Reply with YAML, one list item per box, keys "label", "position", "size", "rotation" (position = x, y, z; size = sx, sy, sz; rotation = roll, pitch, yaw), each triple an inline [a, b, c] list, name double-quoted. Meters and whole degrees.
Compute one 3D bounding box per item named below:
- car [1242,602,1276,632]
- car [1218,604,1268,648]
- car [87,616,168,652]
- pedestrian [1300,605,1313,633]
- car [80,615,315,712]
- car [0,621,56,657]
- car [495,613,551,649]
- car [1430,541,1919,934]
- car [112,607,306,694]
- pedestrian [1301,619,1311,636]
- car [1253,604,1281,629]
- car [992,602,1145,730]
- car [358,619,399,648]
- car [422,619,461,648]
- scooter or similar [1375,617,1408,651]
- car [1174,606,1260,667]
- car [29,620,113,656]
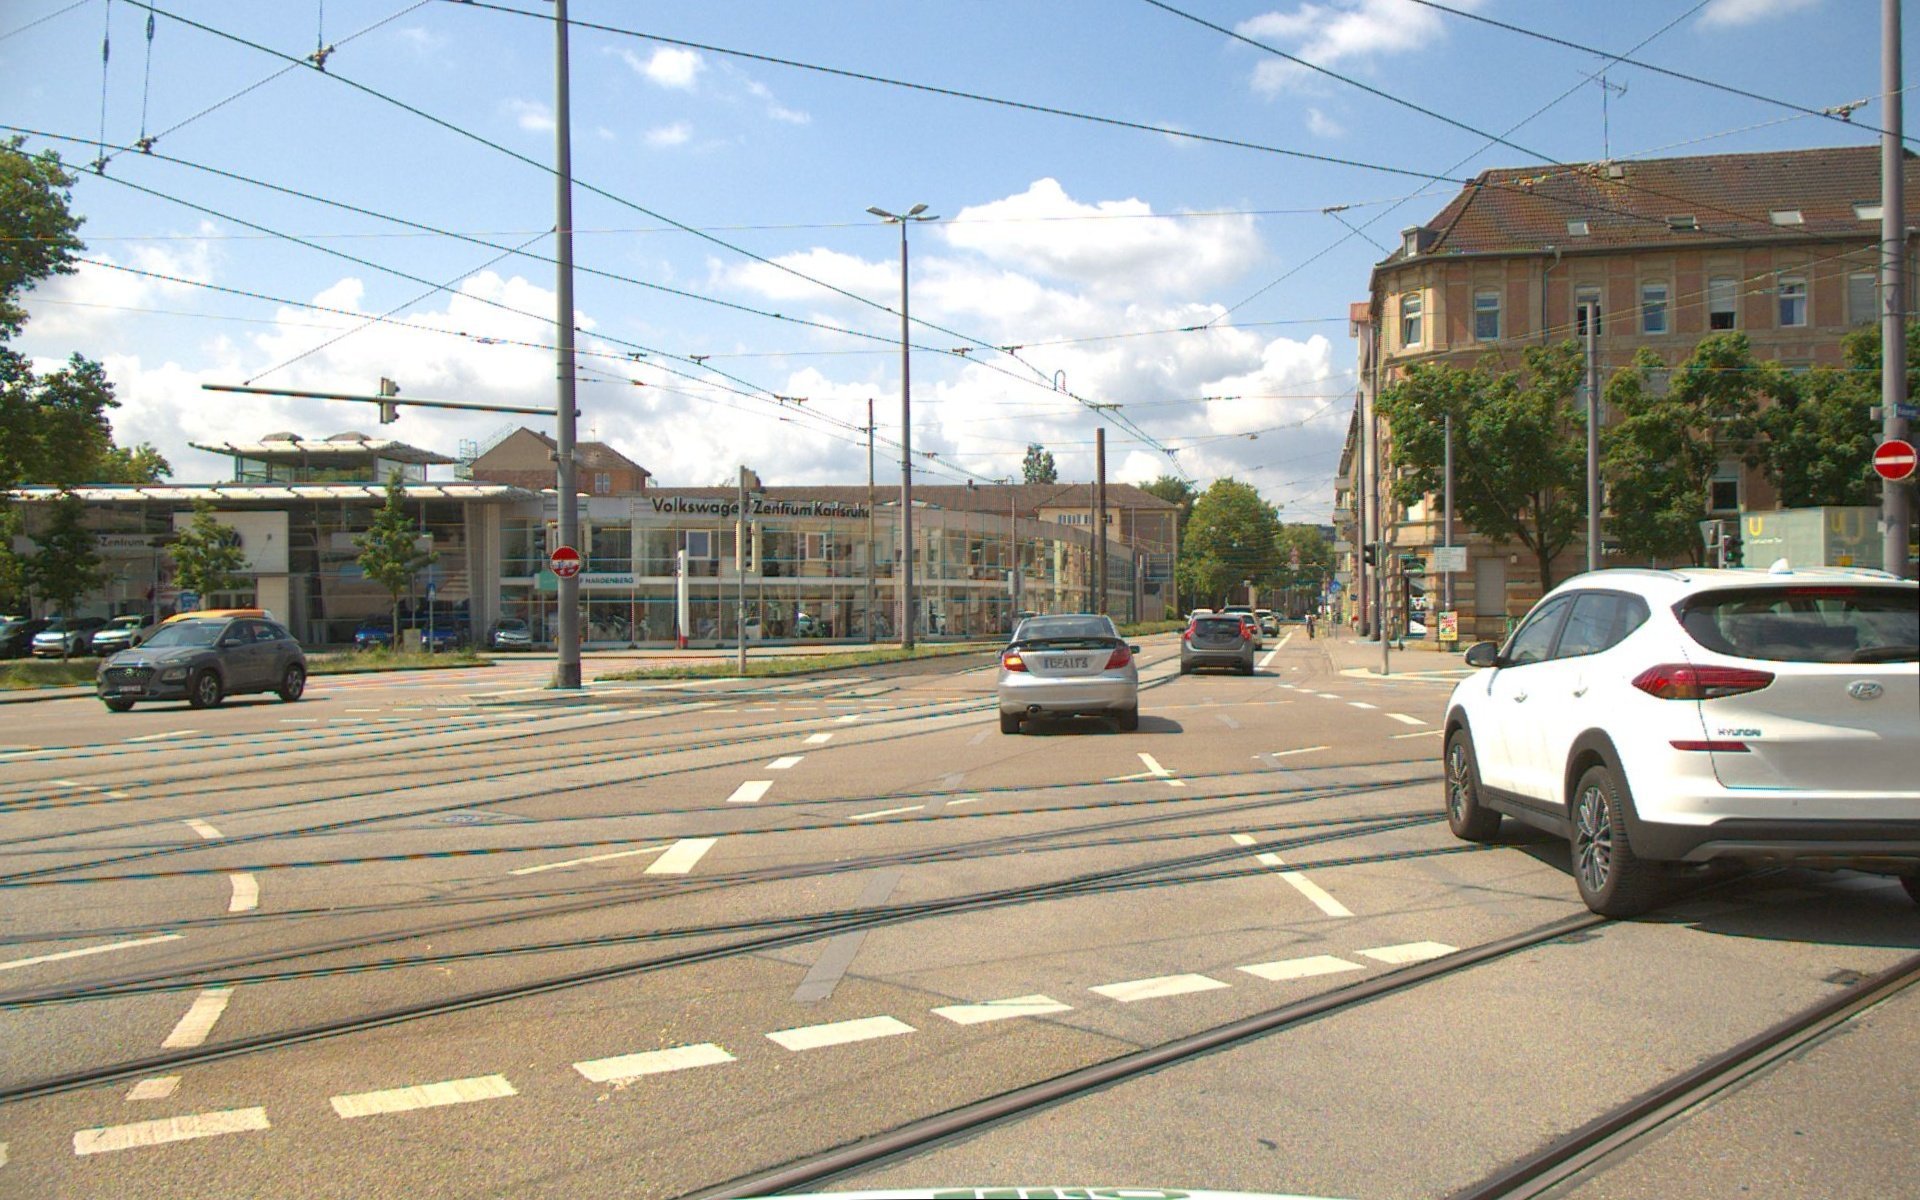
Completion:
- label: "car"
  position: [17.687, 0.998, 97.685]
  size: [1.841, 1.670, 3.960]
  rotation: [-1, 0, 12]
- label: "car"
  position: [11.125, 0.994, 64.944]
  size: [1.841, 1.670, 3.960]
  rotation: [-1, 0, 10]
- label: "car"
  position: [-38.182, 1.595, 75.942]
  size: [1.955, 1.602, 4.172]
  rotation: [0, -2, -6]
- label: "pedestrian"
  position: [18.497, 1.017, 88.402]
  size: [0.677, 1.483, 0.680]
  rotation: [0, -2, 11]
- label: "car"
  position: [-13.258, 1.059, 29.062]
  size: [1.681, 1.558, 4.124]
  rotation: [-1, -1, 10]
- label: "car"
  position: [-43.381, 1.788, 75.815]
  size: [1.955, 1.602, 4.172]
  rotation: [0, -2, -6]
- label: "car"
  position: [-20.484, 1.479, 77.683]
  size: [1.955, 1.602, 3.994]
  rotation: [0, -2, -6]
- label: "car"
  position: [4.034, 0.599, 9.169]
  size: [1.842, 1.670, 4.234]
  rotation: [-1, 0, 3]
- label: "car"
  position: [-17.009, 1.096, 37.754]
  size: [1.681, 1.832, 4.744]
  rotation: [-2, -1, 9]
- label: "pedestrian"
  position: [18.478, 1.475, 88.300]
  size: [0.513, 0.922, 1.562]
  rotation: [0, -2, 11]
- label: "car"
  position: [21.318, 1.130, 114.837]
  size: [1.841, 1.670, 3.960]
  rotation: [-1, 0, 12]
- label: "car"
  position: [1.460, 0.767, 21.063]
  size: [1.704, 1.416, 4.182]
  rotation: [-2, -1, 6]
- label: "car"
  position: [-26.625, 1.554, 75.781]
  size: [1.622, 1.272, 3.980]
  rotation: [1, -2, -17]
- label: "car"
  position: [-23.647, 1.558, 75.493]
  size: [1.622, 1.272, 3.980]
  rotation: [1, -2, -17]
- label: "scooter or similar"
  position: [15.459, 1.226, 59.213]
  size: [1.508, 1.195, 0.377]
  rotation: [2, -3, -41]
- label: "car"
  position: [6.354, 0.884, 41.257]
  size: [1.841, 1.444, 3.959]
  rotation: [-1, 0, 5]
- label: "car"
  position: [-40.764, 1.763, 75.947]
  size: [1.955, 1.602, 4.172]
  rotation: [0, -2, -6]
